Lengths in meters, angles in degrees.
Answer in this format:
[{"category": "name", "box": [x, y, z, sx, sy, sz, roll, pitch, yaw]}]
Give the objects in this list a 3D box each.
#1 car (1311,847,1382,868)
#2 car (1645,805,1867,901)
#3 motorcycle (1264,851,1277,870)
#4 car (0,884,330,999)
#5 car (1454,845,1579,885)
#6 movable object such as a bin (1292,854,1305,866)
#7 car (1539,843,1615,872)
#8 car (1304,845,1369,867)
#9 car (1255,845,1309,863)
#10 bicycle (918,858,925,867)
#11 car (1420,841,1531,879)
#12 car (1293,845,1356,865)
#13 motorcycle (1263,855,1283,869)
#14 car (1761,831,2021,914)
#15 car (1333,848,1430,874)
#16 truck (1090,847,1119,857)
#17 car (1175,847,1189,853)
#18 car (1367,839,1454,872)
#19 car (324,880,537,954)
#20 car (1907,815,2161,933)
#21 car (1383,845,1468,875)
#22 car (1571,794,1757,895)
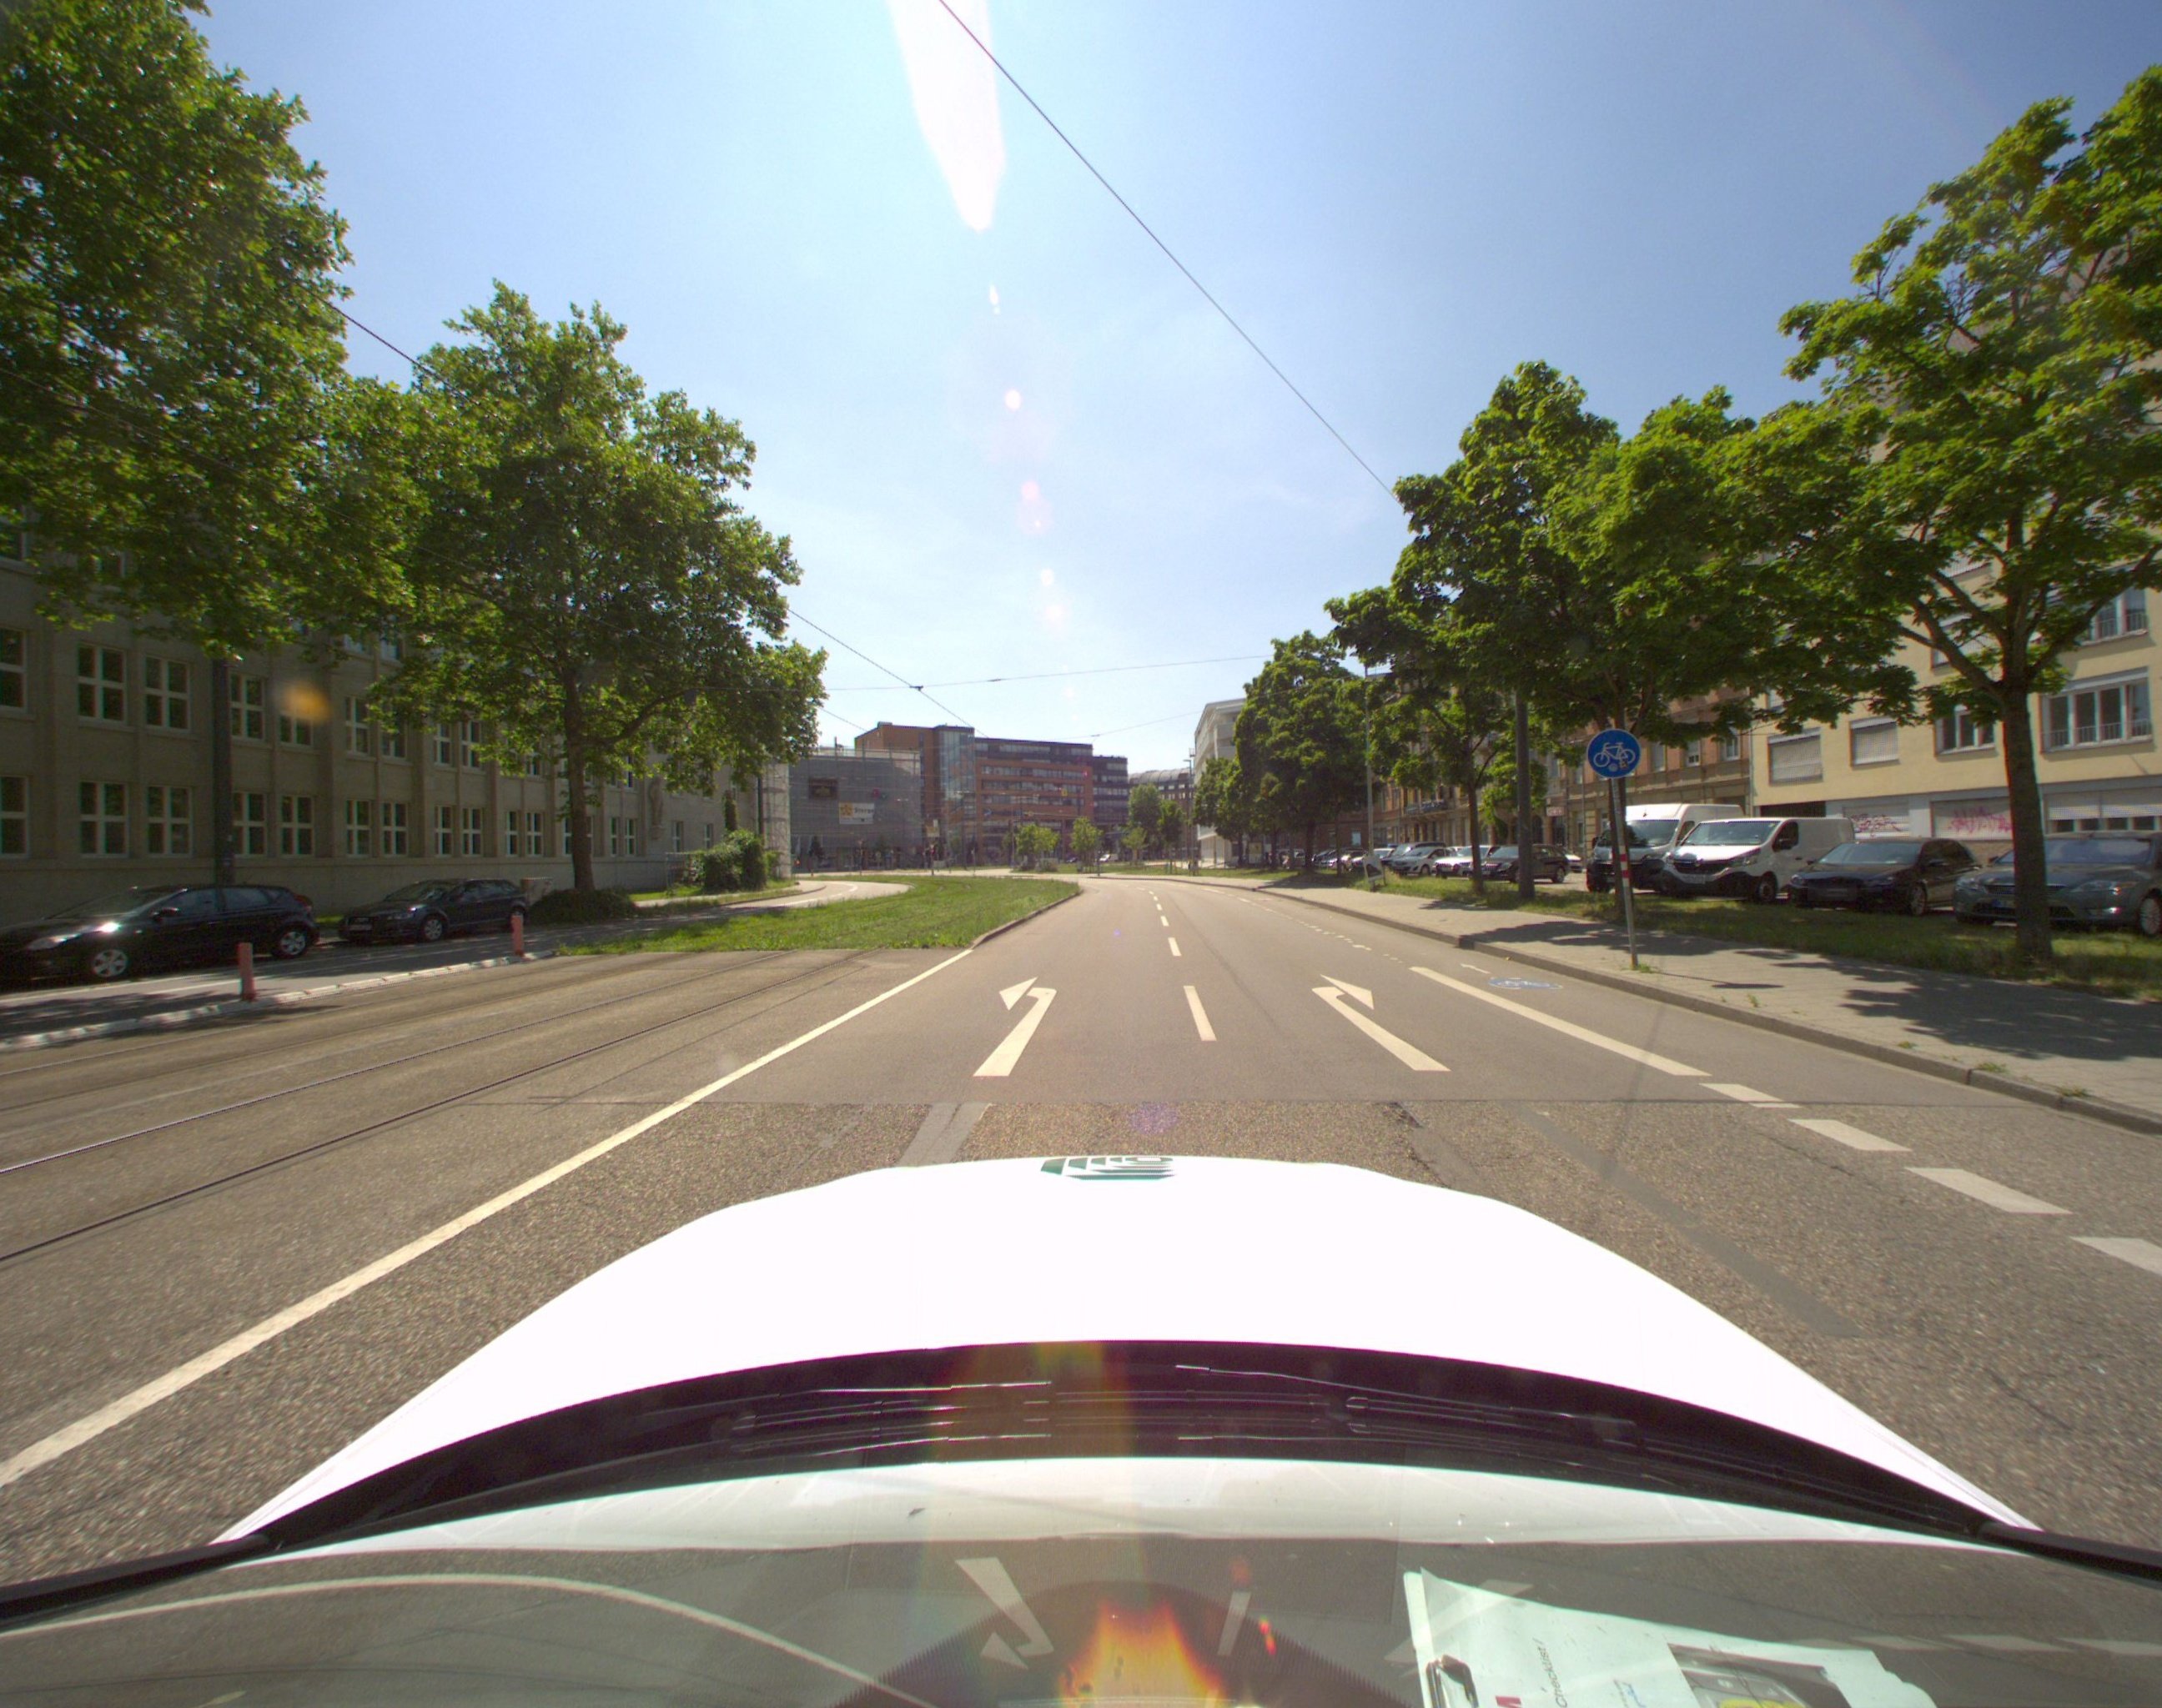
[{"category": "car", "box": [17.194, 0.224, 52.835, 3.998, 1.313, 1.960, -1, 0, -18]}, {"category": "car", "box": [15.549, -0.042, 18.740, 4.856, 1.973, 2.059, -1, 0, -25]}, {"category": "motorcycle", "box": [14.691, 0.491, 63.212, 0.672, 1.413, 1.859, -3, 0, 6]}, {"category": "car", "box": [-15.848, 1.352, 13.937, 1.754, 1.483, 4.329, -1, 0, 5]}, {"category": "car", "box": [16.055, 0.381, 29.992, 4.443, 1.338, 1.954, -1, 0, -28]}, {"category": "movable object such as a bin", "box": [17.174, 0.507, 64.363, 0.978, 0.937, 0.704, -1, 0, 15]}, {"category": "car", "box": [25.190, 0.180, 41.468, 1.771, 1.420, 3.719, -1, 0, 3]}, {"category": "car", "box": [17.507, 0.124, 55.874, 4.097, 1.470, 1.784, -1, 0, -24]}, {"category": "car", "box": [18.992, -0.013, 76.927, 4.880, 1.601, 1.822, -1, 0, -23]}, {"category": "bicycle", "box": [-31.841, 1.720, 162.436, 0.602, 1.731, 2.237, 0, 0, -32]}, {"category": "car", "box": [16.237, 0.223, 33.459, 4.710, 1.427, 1.952, -1, 0, -33]}, {"category": "car", "box": [17.472, 0.046, 58.430, 4.351, 1.376, 1.571, -1, 0, -22]}, {"category": "motorcycle", "box": [15.702, 0.632, 66.505, 1.514, 1.120, 0.478, -1, 0, 3]}, {"category": "car", "box": [15.173, 0.300, 15.297, 3.997, 1.387, 1.813, -1, 0, -17]}, {"category": "car", "box": [16.666, 0.386, 45.198, 4.785, 1.313, 2.137, -1, 0, -18]}, {"category": "truck", "box": [7.138, -0.569, 245.686, 9.120, 2.809, 2.013, -1, 0, 36]}, {"category": "car", "box": [31.035, -1.210, 249.739, 3.948, 1.728, 1.878, -1, 0, 35]}, {"category": "car", "box": [17.410, 0.064, 43.029, 4.003, 1.662, 1.958, -1, 0, -22]}, {"category": "car", "box": [-15.283, 1.403, 19.481, 1.582, 1.424, 4.323, -1, 0, 1]}, {"category": "car", "box": [14.886, 0.233, 12.084, 4.634, 1.497, 1.952, -1, 0, -20]}, {"category": "car", "box": [16.902, 0.277, 39.907, 4.010, 1.400, 1.697, -1, 0, -28]}, {"category": "car", "box": [15.946, -0.245, 22.200, 5.572, 2.460, 2.215, -1, 0, -33]}]
